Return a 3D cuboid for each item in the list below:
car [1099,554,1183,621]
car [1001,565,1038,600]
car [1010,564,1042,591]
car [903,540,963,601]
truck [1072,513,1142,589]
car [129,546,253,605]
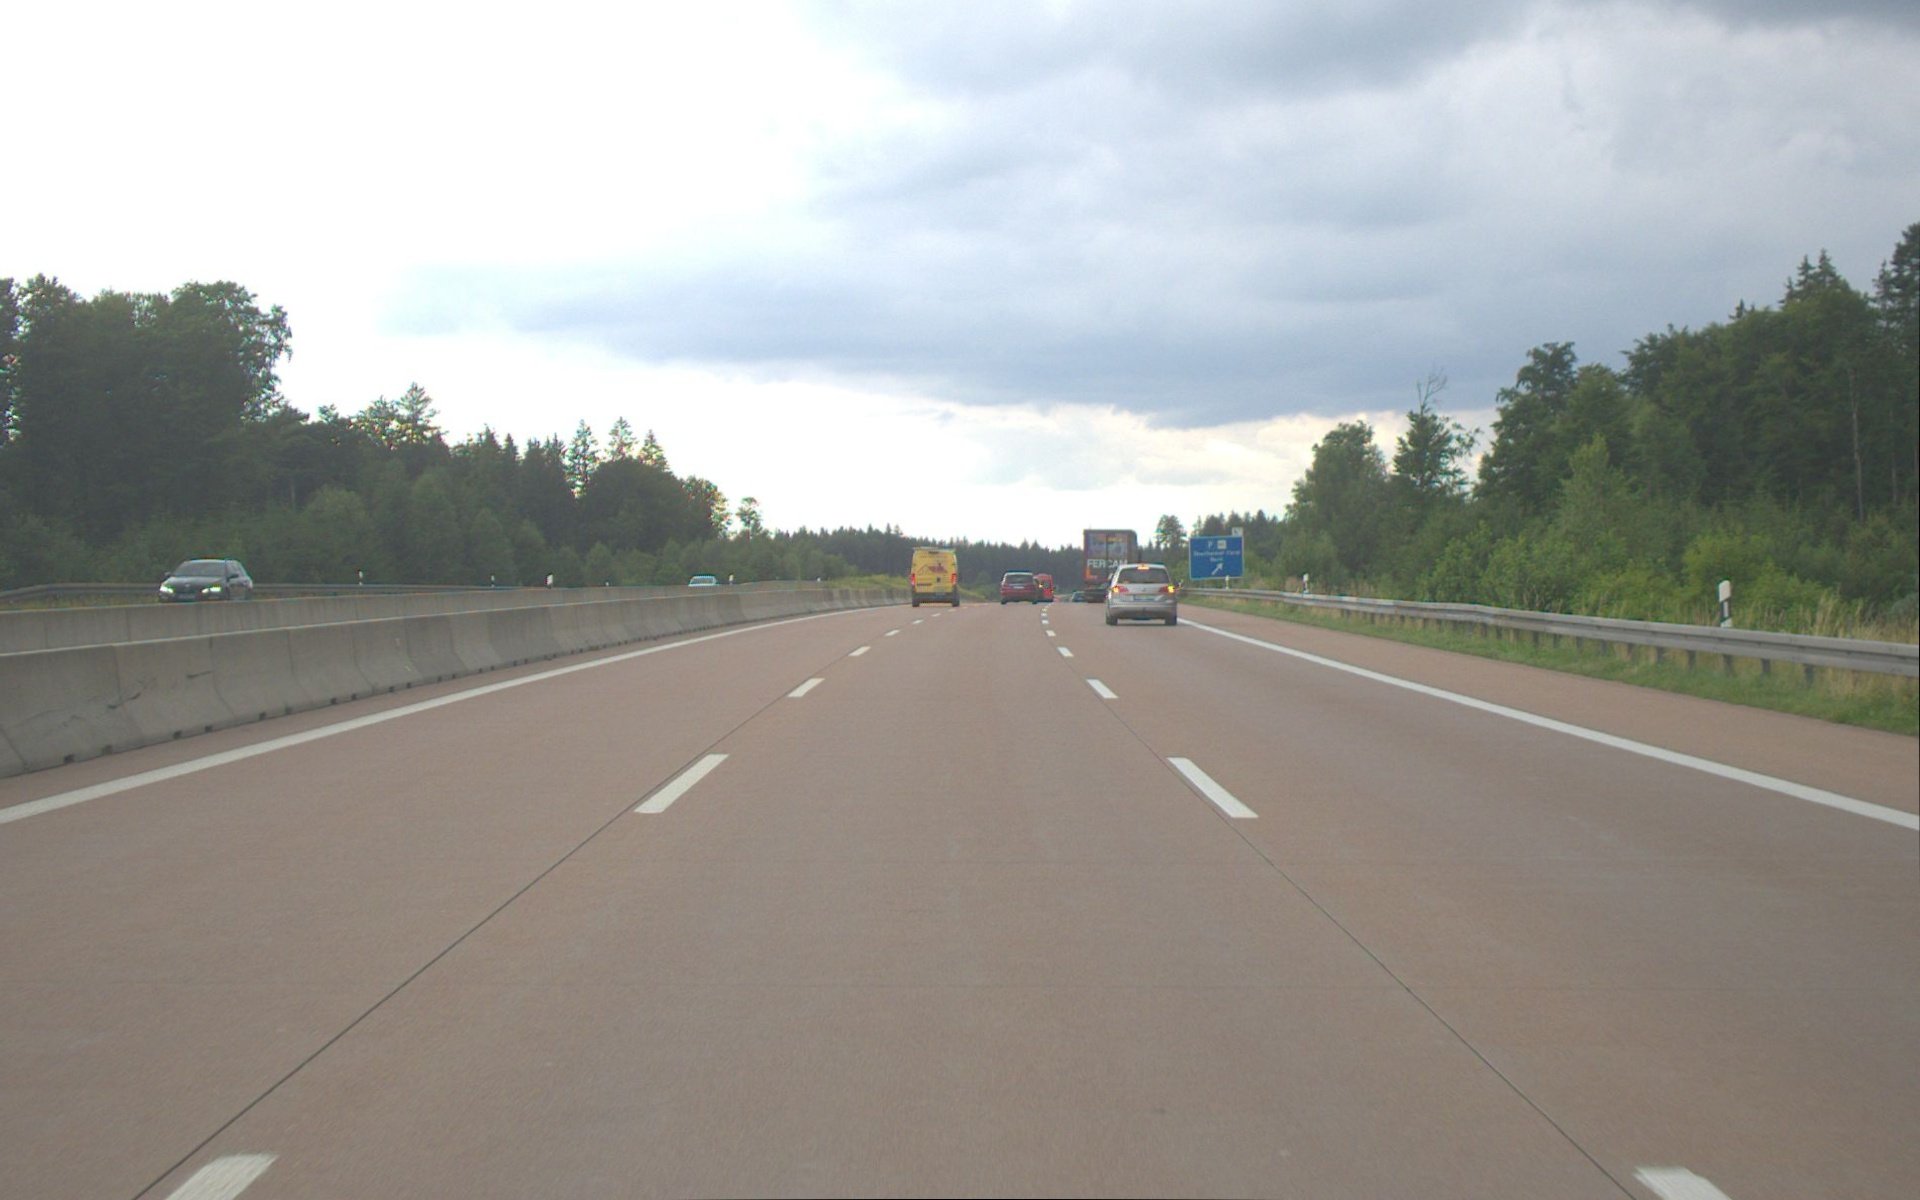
[{"bbox_3d":[4.650,-0.340,88.789,1.978,1.642,4.619,1,1,1],"label":"car"},{"bbox_3d":[3.086,-0.926,177.747,1.887,1.758,4.782,0,1,1],"label":"car"},{"bbox_3d":[4.278,-1.461,222.058,1.888,1.758,4.997,0,1,3],"label":"car"},{"bbox_3d":[-1.214,-1.326,155.660,2.459,2.697,5.613,0,1,2],"label":"car"},{"bbox_3d":[8.150,-2.654,190.908,3.680,3.899,12.815,1,0,2],"label":"truck"},{"bbox_3d":[-20.858,-0.675,93.425,2.217,1.561,4.849,0,1,1],"label":"car"}]
